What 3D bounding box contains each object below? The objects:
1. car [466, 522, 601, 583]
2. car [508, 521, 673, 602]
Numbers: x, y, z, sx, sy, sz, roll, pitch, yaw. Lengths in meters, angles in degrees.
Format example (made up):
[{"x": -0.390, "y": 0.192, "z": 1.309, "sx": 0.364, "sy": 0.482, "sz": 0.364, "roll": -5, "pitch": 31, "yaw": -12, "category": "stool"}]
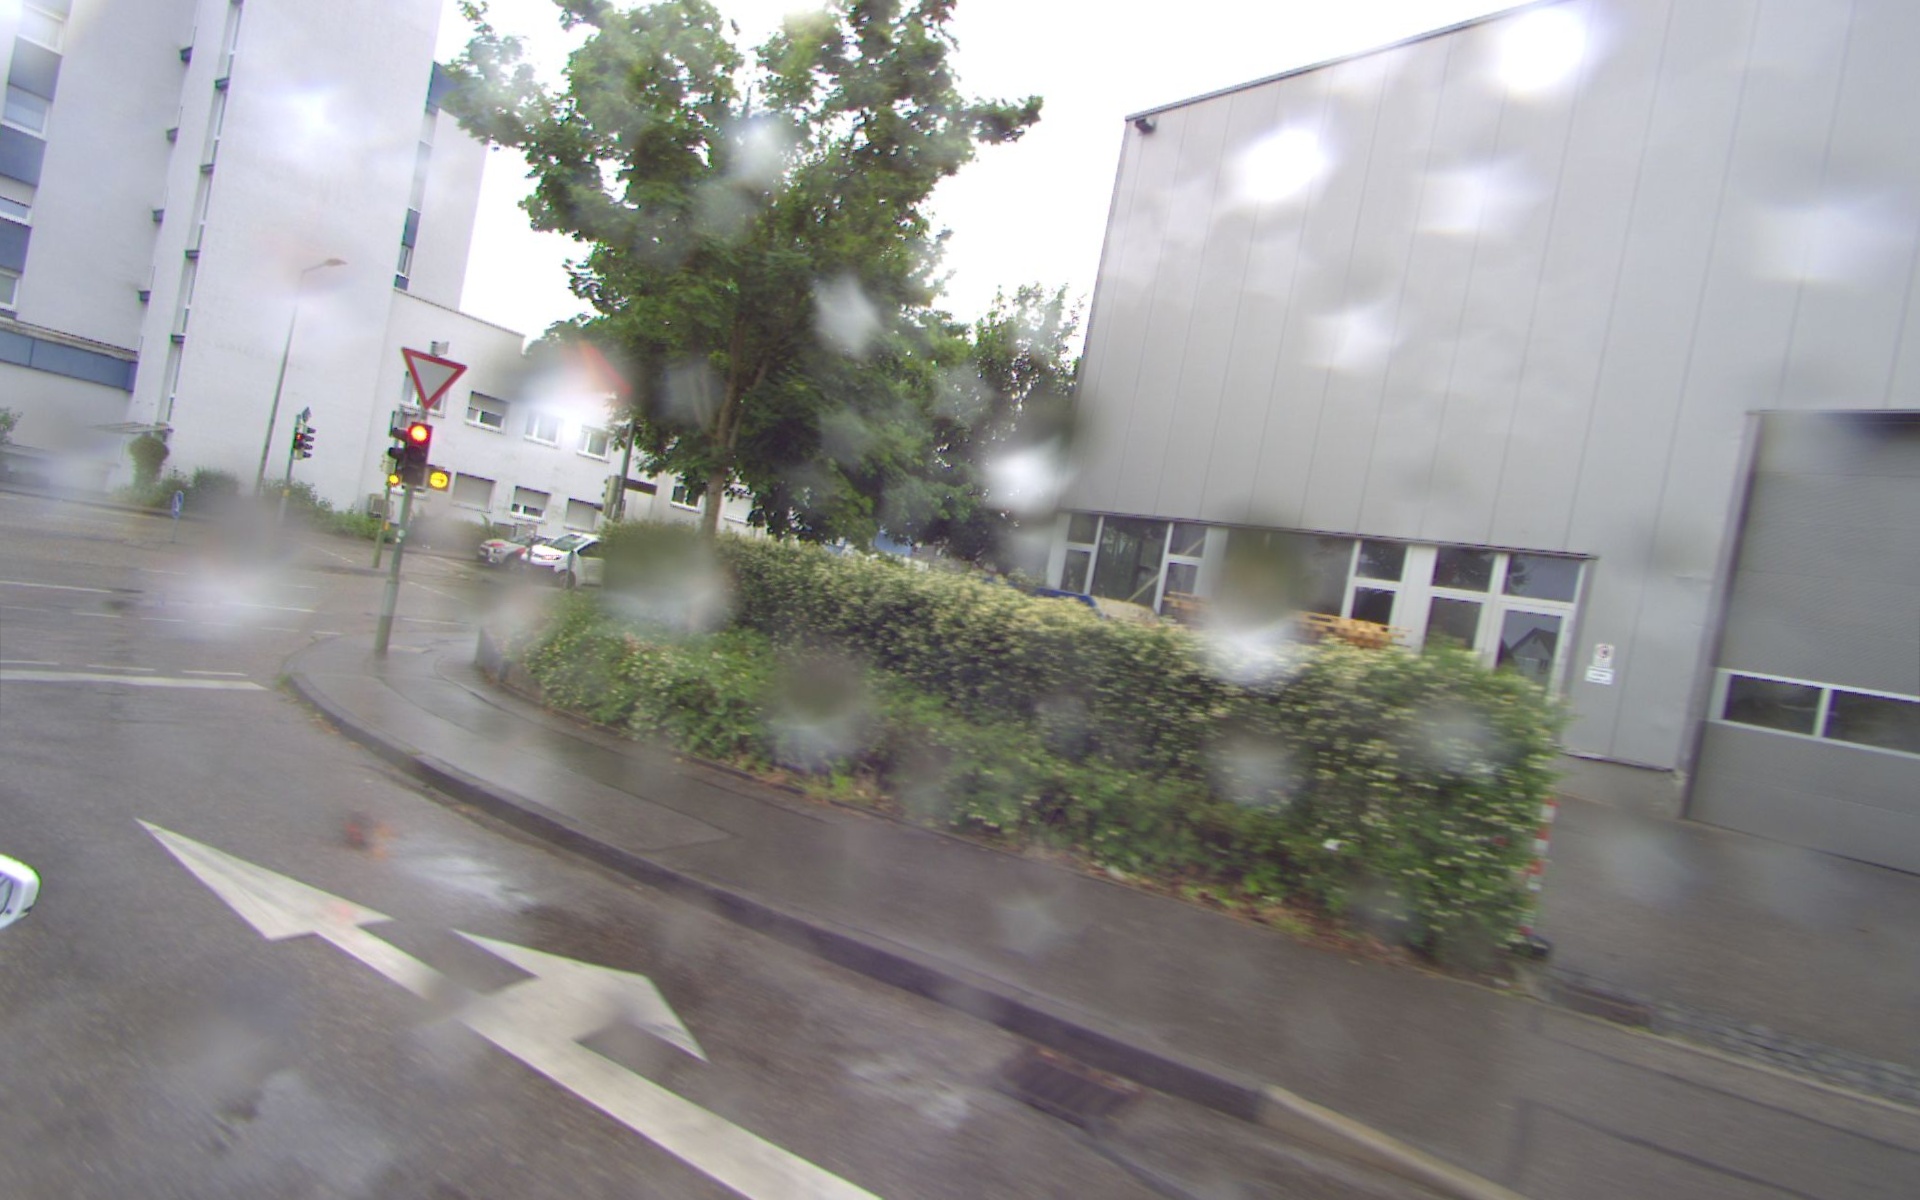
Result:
[{"x": -15.272, "y": -1.675, "z": 36.151, "sx": 1.803, "sy": 1.485, "sz": 3.988, "roll": 9, "pitch": 0, "yaw": 36, "category": "car"}, {"x": -12.389, "y": -1.251, "z": 34.032, "sx": 1.800, "sy": 1.939, "sz": 4.815, "roll": 8, "pitch": -1, "yaw": 39, "category": "car"}]
